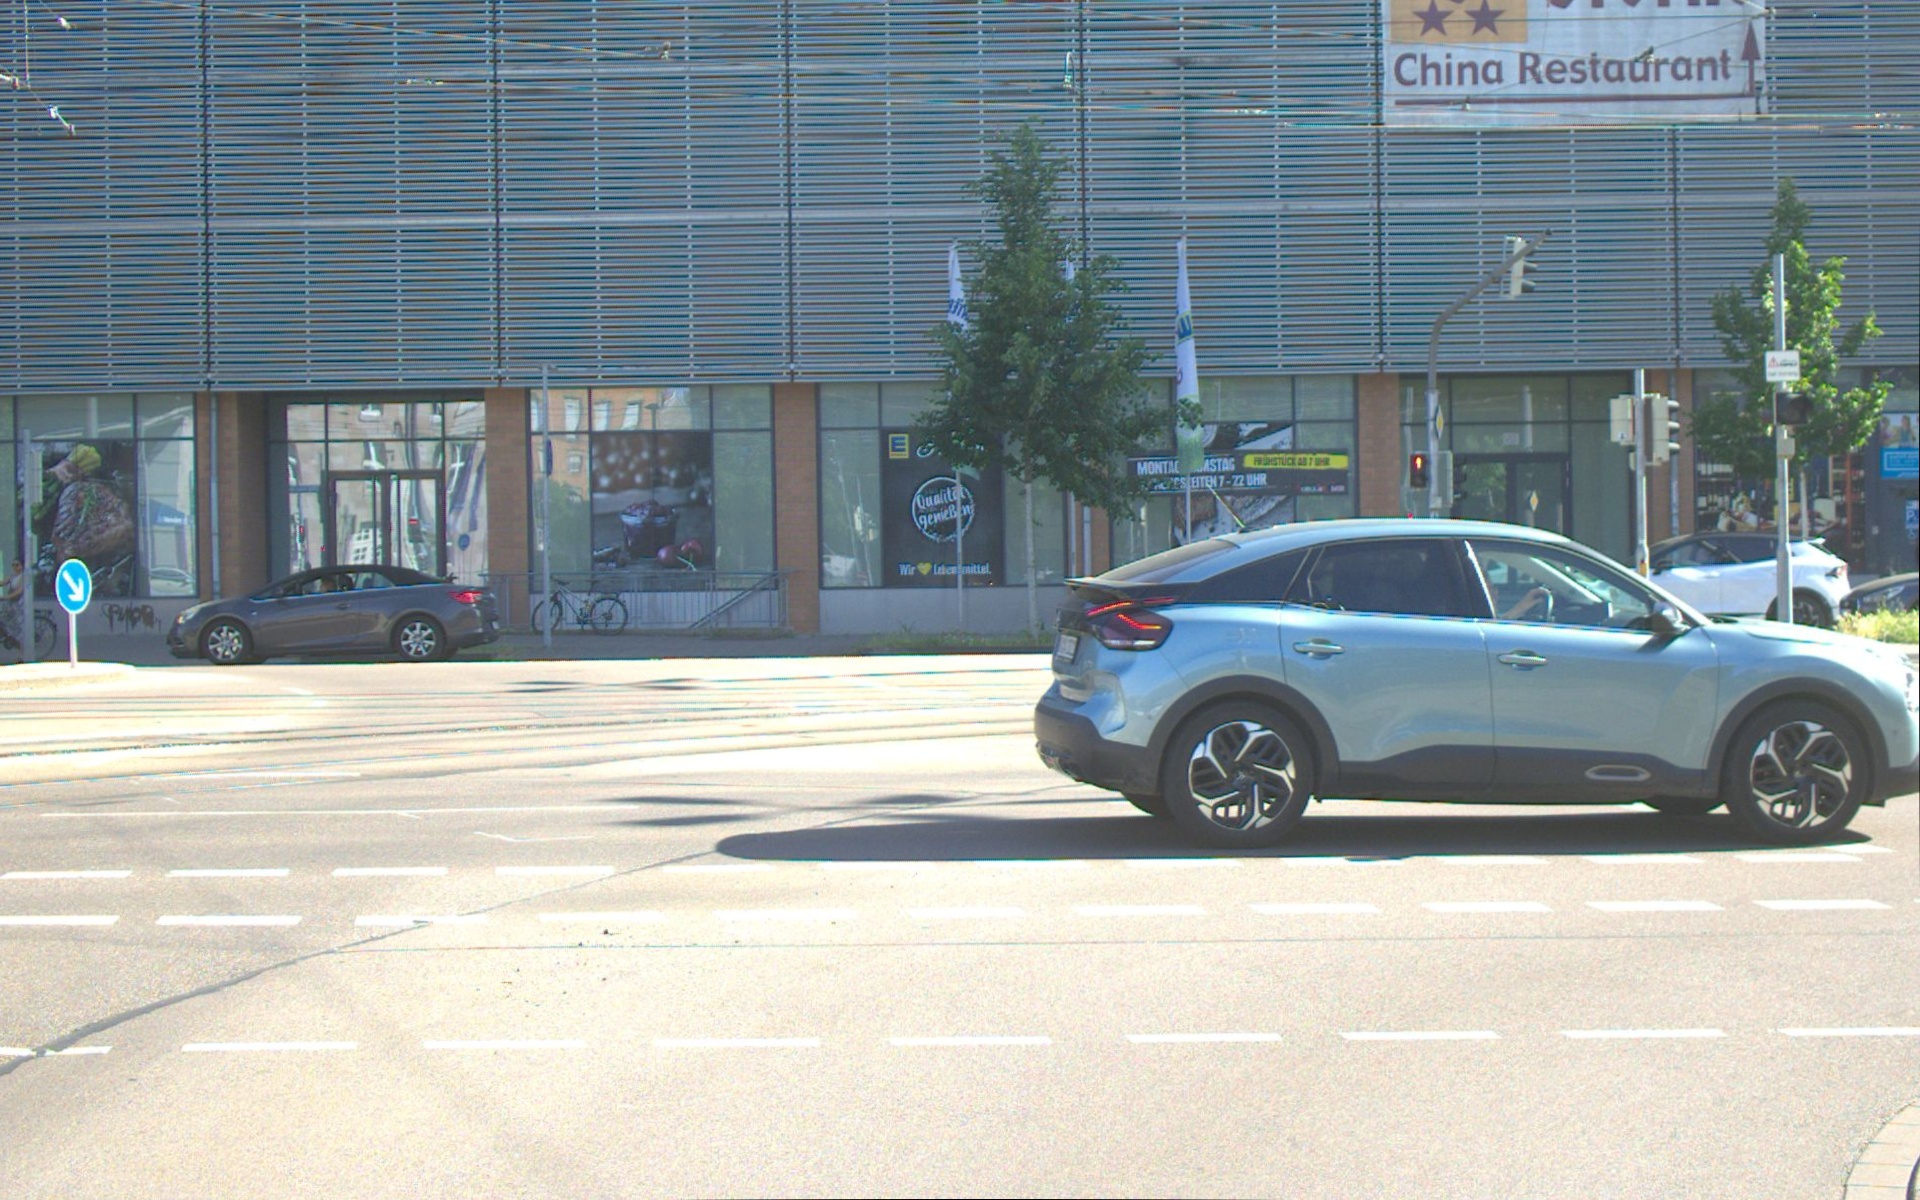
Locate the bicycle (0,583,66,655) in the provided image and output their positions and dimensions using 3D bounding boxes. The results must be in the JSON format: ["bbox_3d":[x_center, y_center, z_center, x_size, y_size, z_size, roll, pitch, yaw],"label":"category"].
[{"bbox_3d":[-15.244,0.311,54.862,0.568,1.082,1.859,1,3,43],"label":"bicycle"}]

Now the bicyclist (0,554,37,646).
[{"bbox_3d":[-15.278,0.002,54.782,0.675,1.422,0.847,1,3,43],"label":"bicyclist"}]

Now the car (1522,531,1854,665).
[{"bbox_3d":[10.321,-0.031,48.934,4.326,1.856,1.841,0,0,-1],"label":"car"}]

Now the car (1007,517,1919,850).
[{"bbox_3d":[2.464,0.374,16.659,4.263,1.508,1.710,0,1,-7],"label":"car"}]

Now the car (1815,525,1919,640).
[{"bbox_3d":[13.755,-0.144,45.847,4.146,1.464,1.841,3,0,-1],"label":"car"}]

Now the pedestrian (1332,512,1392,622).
[{"bbox_3d":[6.952,-0.563,59.532,0.950,1.822,0.845,-2,-3,5],"label":"pedestrian"}]

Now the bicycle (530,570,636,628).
[{"bbox_3d":[-6.648,-0.017,60.544,1.815,0.986,0.558,-1,2,-10],"label":"bicycle"}]

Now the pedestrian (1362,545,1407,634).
[{"bbox_3d":[6.832,-0.178,55.270,0.655,1.409,0.849,1,0,10],"label":"pedestrian"}]

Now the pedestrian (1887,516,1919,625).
[{"bbox_3d":[16.432,-0.524,58.520,1.012,1.822,1.035,-2,1,3],"label":"pedestrian"}]

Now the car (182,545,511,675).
[{"bbox_3d":[-8.686,0.138,48.900,4.289,1.578,1.841,3,0,-1],"label":"car"}]
